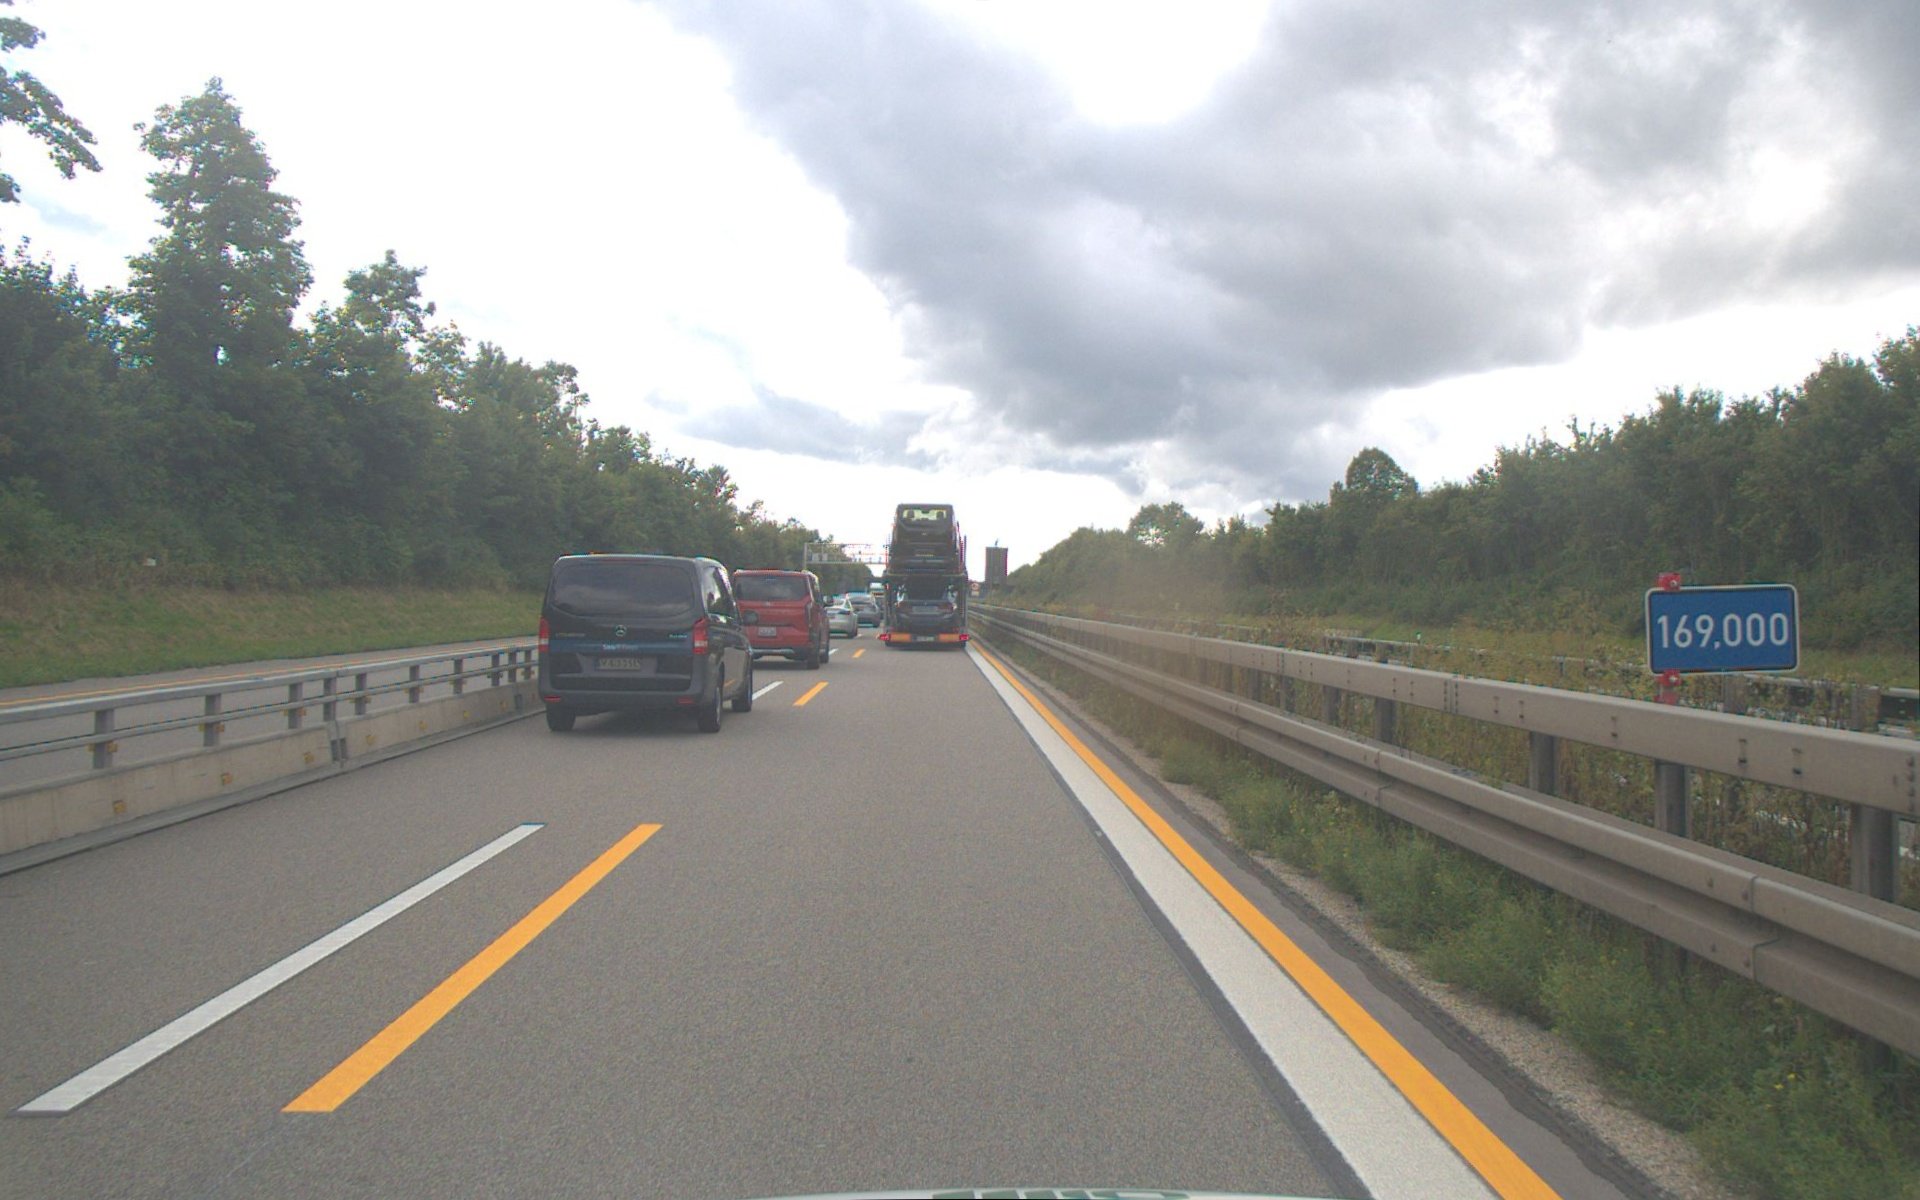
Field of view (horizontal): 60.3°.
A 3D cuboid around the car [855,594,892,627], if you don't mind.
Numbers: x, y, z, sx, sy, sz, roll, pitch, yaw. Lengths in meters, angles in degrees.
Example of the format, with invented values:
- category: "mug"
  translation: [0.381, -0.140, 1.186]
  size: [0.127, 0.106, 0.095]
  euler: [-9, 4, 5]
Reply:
- category: "car"
  translation: [-4.882, 0.586, 93.871]
  size: [1.990, 1.788, 4.576]
  euler: [0, 0, -2]

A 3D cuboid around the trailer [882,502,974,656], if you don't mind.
- category: "trailer"
  translation: [-0.938, -0.573, 50.825]
  size: [2.464, 4.177, 11.111]
  euler: [1, 0, -1]

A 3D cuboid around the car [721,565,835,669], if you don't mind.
- category: "car"
  translation: [-3.761, 0.338, 34.960]
  size: [1.990, 2.049, 4.576]
  euler: [0, 0, -1]

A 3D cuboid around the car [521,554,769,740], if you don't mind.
- category: "car"
  translation: [-3.516, 0.478, 19.567]
  size: [1.953, 1.875, 5.608]
  euler: [0, 0, -1]

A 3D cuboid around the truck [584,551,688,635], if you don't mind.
- category: "truck"
  translation: [-11.365, -0.232, 58.595]
  size: [2.439, 2.765, 6.665]
  euler: [1, 0, -1]

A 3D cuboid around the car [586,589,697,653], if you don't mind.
- category: "car"
  translation: [-8.159, 0.512, 42.765]
  size: [1.953, 1.533, 4.831]
  euler: [1, 0, -1]

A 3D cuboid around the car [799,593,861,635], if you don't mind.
- category: "car"
  translation: [-4.649, 0.489, 59.647]
  size: [1.990, 1.456, 4.576]
  euler: [0, 0, -2]

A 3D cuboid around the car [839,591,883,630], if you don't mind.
- category: "car"
  translation: [-4.727, 0.483, 79.604]
  size: [1.990, 1.788, 4.576]
  euler: [0, 0, -2]

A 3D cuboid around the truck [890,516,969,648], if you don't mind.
- category: "truck"
  translation: [-0.996, -0.558, 55.557]
  size: [2.464, 4.177, 5.684]
  euler: [1, 0, -1]
